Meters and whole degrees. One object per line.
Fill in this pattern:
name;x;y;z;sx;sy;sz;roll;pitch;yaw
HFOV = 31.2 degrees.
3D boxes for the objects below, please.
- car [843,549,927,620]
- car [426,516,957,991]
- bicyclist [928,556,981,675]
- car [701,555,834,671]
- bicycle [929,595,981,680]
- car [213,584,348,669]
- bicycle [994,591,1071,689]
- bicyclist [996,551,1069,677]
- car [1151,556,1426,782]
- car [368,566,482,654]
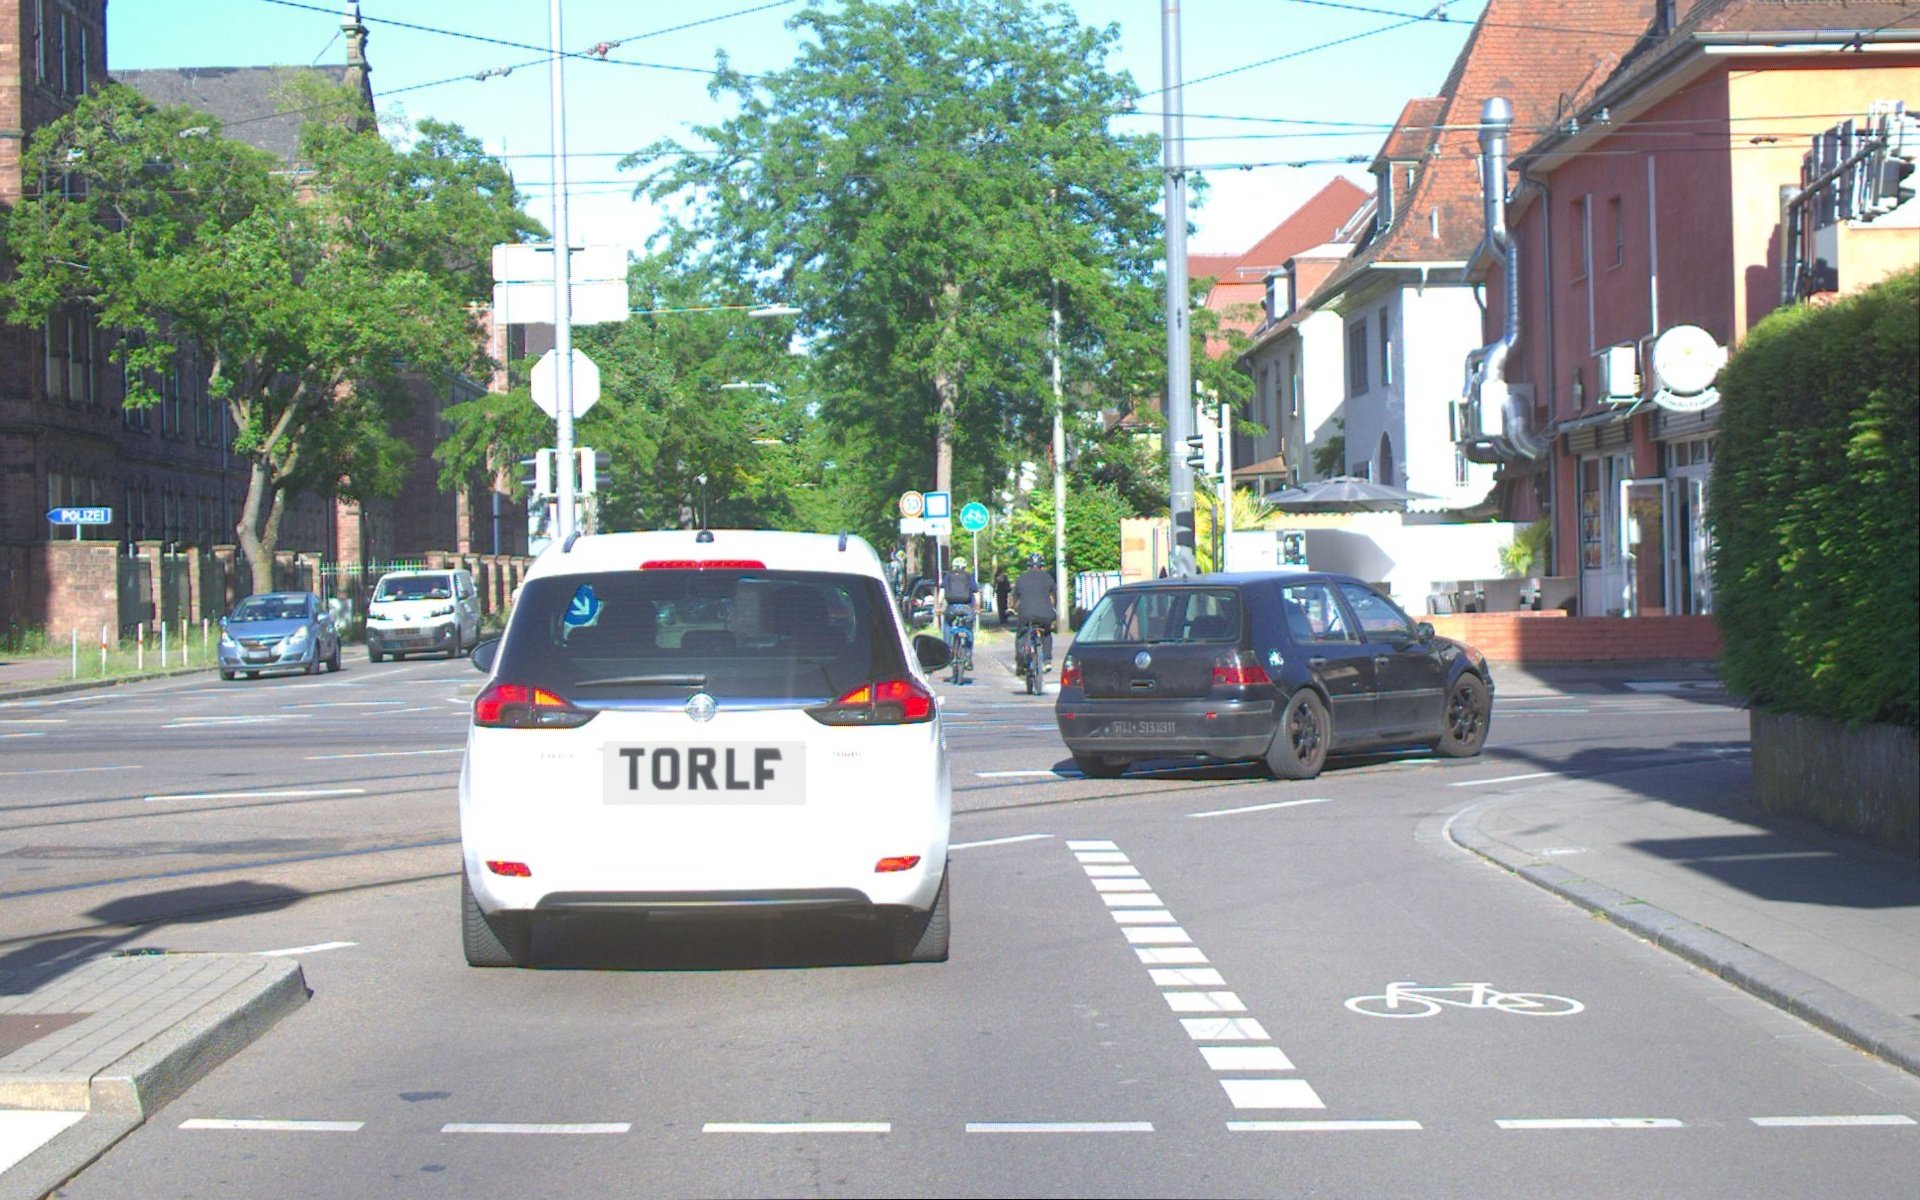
car;-1.742;-0.364;81.352;1.776;1.626;3.880;-1;0;2
car;-0.944;0.529;13.941;1.835;1.636;3.919;-1;0;0
bicyclist;-0.073;0.206;47.806;0.685;1.629;1.015;-1;0;2
car;-2.798;0.175;50.572;1.776;1.626;3.881;-1;0;-1
bicycle;-0.064;0.512;47.897;0.685;1.153;1.619;0;0;2
car;-11.840;0.447;60.112;1.581;1.436;3.584;-1;0;1
bicycle;0.868;0.468;41.668;0.829;1.150;2.095;-1;0;-1
bicyclist;0.869;0.165;41.531;0.821;1.496;0.934;-1;0;-1
car;2.213;0.437;23.973;1.586;1.415;3.900;-1;0;1
car;-11.240;0.204;72.442;1.892;1.777;3.881;-1;0;-2
